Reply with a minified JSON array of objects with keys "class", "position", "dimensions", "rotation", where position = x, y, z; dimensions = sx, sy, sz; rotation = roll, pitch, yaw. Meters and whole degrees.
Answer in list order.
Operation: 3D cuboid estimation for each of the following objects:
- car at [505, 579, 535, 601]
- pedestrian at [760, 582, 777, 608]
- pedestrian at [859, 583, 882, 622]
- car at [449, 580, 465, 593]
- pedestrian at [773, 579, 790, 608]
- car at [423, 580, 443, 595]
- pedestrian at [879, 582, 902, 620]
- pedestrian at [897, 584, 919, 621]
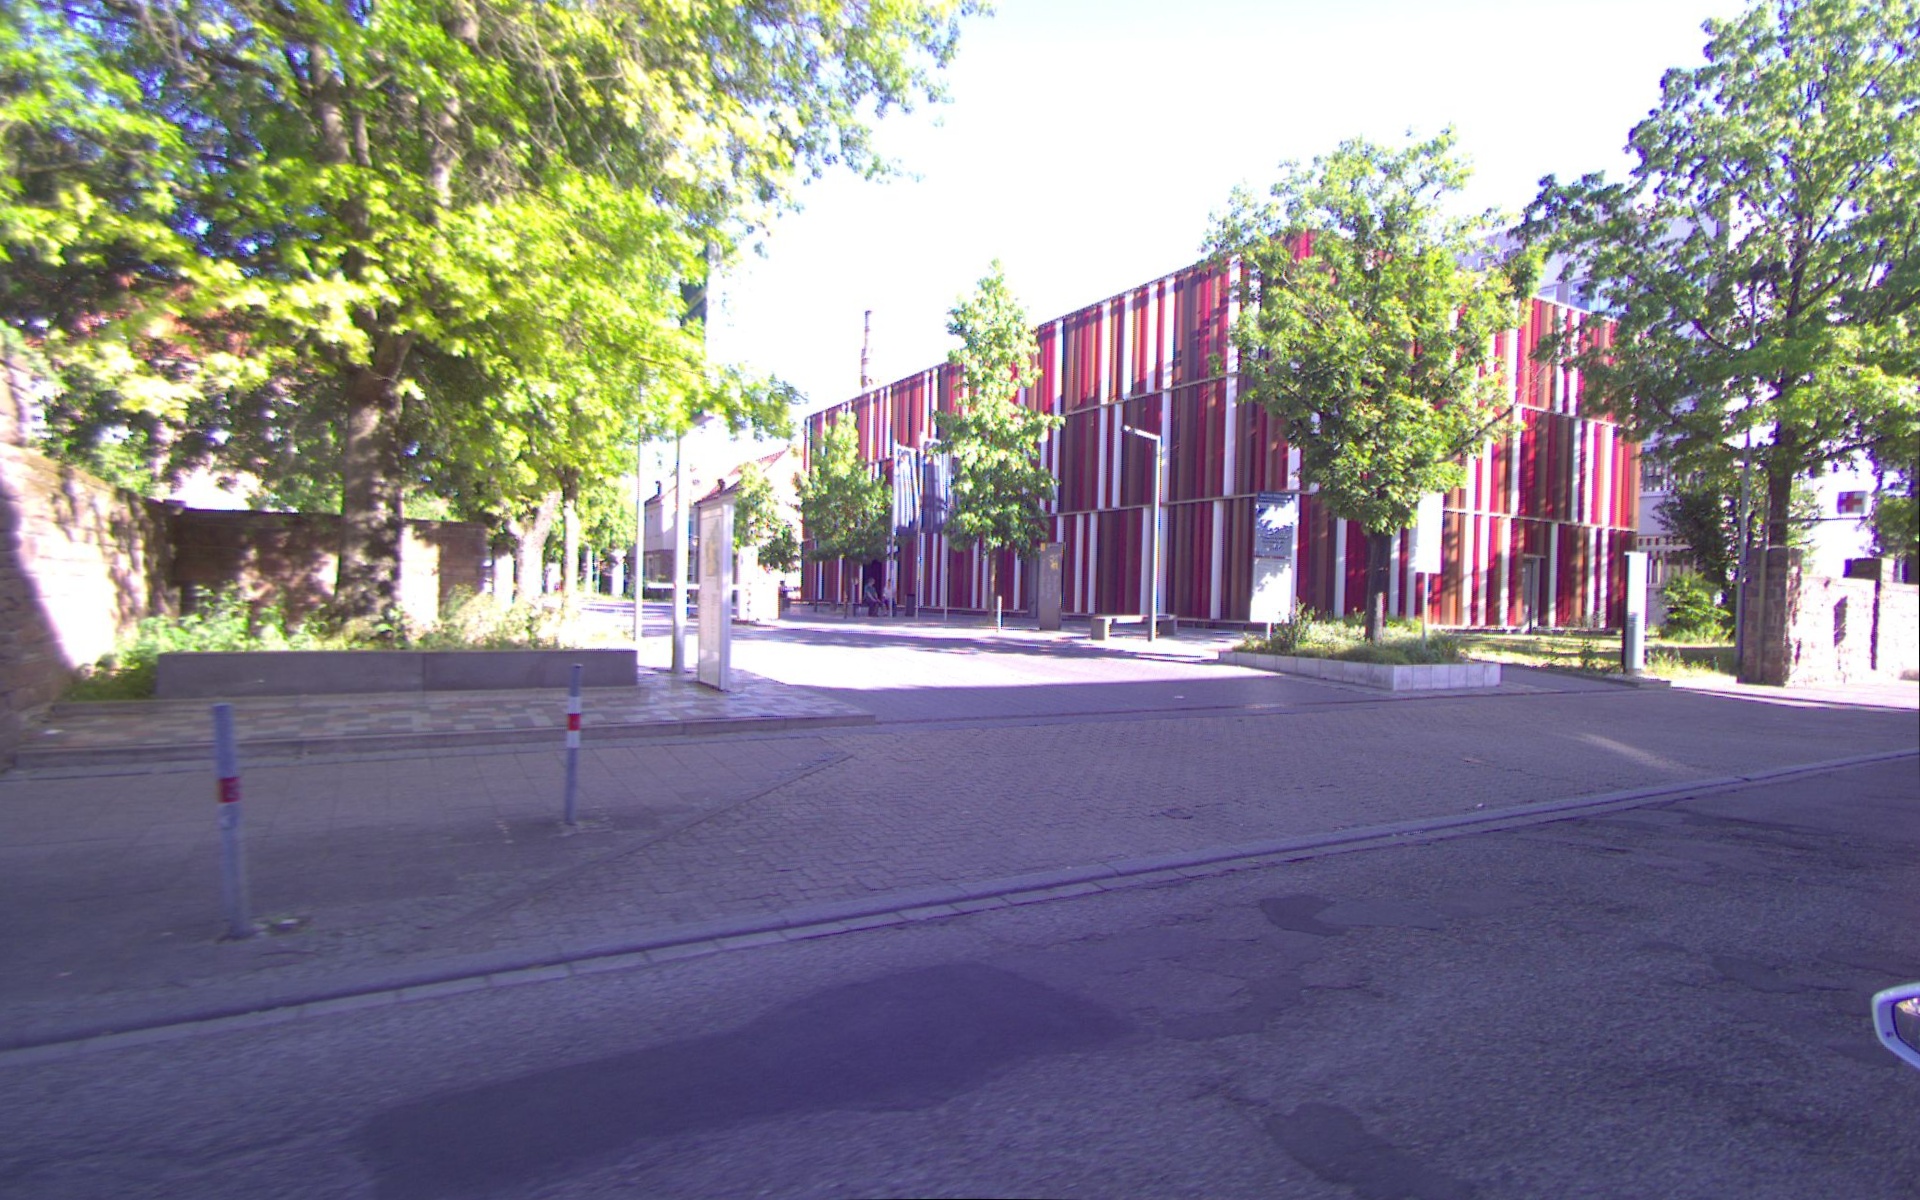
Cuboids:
[{"class":"car","position":[-29.451,-0.688,67.185],"dimensions":[1.714,1.341,3.049],"rotation":[1,1,-27]},{"class":"pedestrian","position":[-8.945,-0.245,46.960],"dimensions":[0.604,1.192,0.566],"rotation":[1,2,-35]},{"class":"pedestrian","position":[-3.275,0.101,36.594],"dimensions":[0.605,1.398,0.565],"rotation":[1,2,-37]},{"class":"car","position":[-60.683,-1.624,121.180],"dimensions":[1.715,1.341,3.049],"rotation":[2,2,-27]},{"class":"pedestrian","position":[-8.409,-0.308,47.348],"dimensions":[0.604,1.336,0.566],"rotation":[1,2,-35]},{"class":"car","position":[-51.973,-1.248,99.092],"dimensions":[1.714,1.341,3.049],"rotation":[1,1,-27]},{"class":"pedestrian","position":[-2.569,0.040,37.110],"dimensions":[0.605,1.371,0.565],"rotation":[1,2,-37]},{"class":"pedestrian","position":[-1.945,0.093,37.608],"dimensions":[0.605,1.371,0.565],"rotation":[1,2,-37]}]
